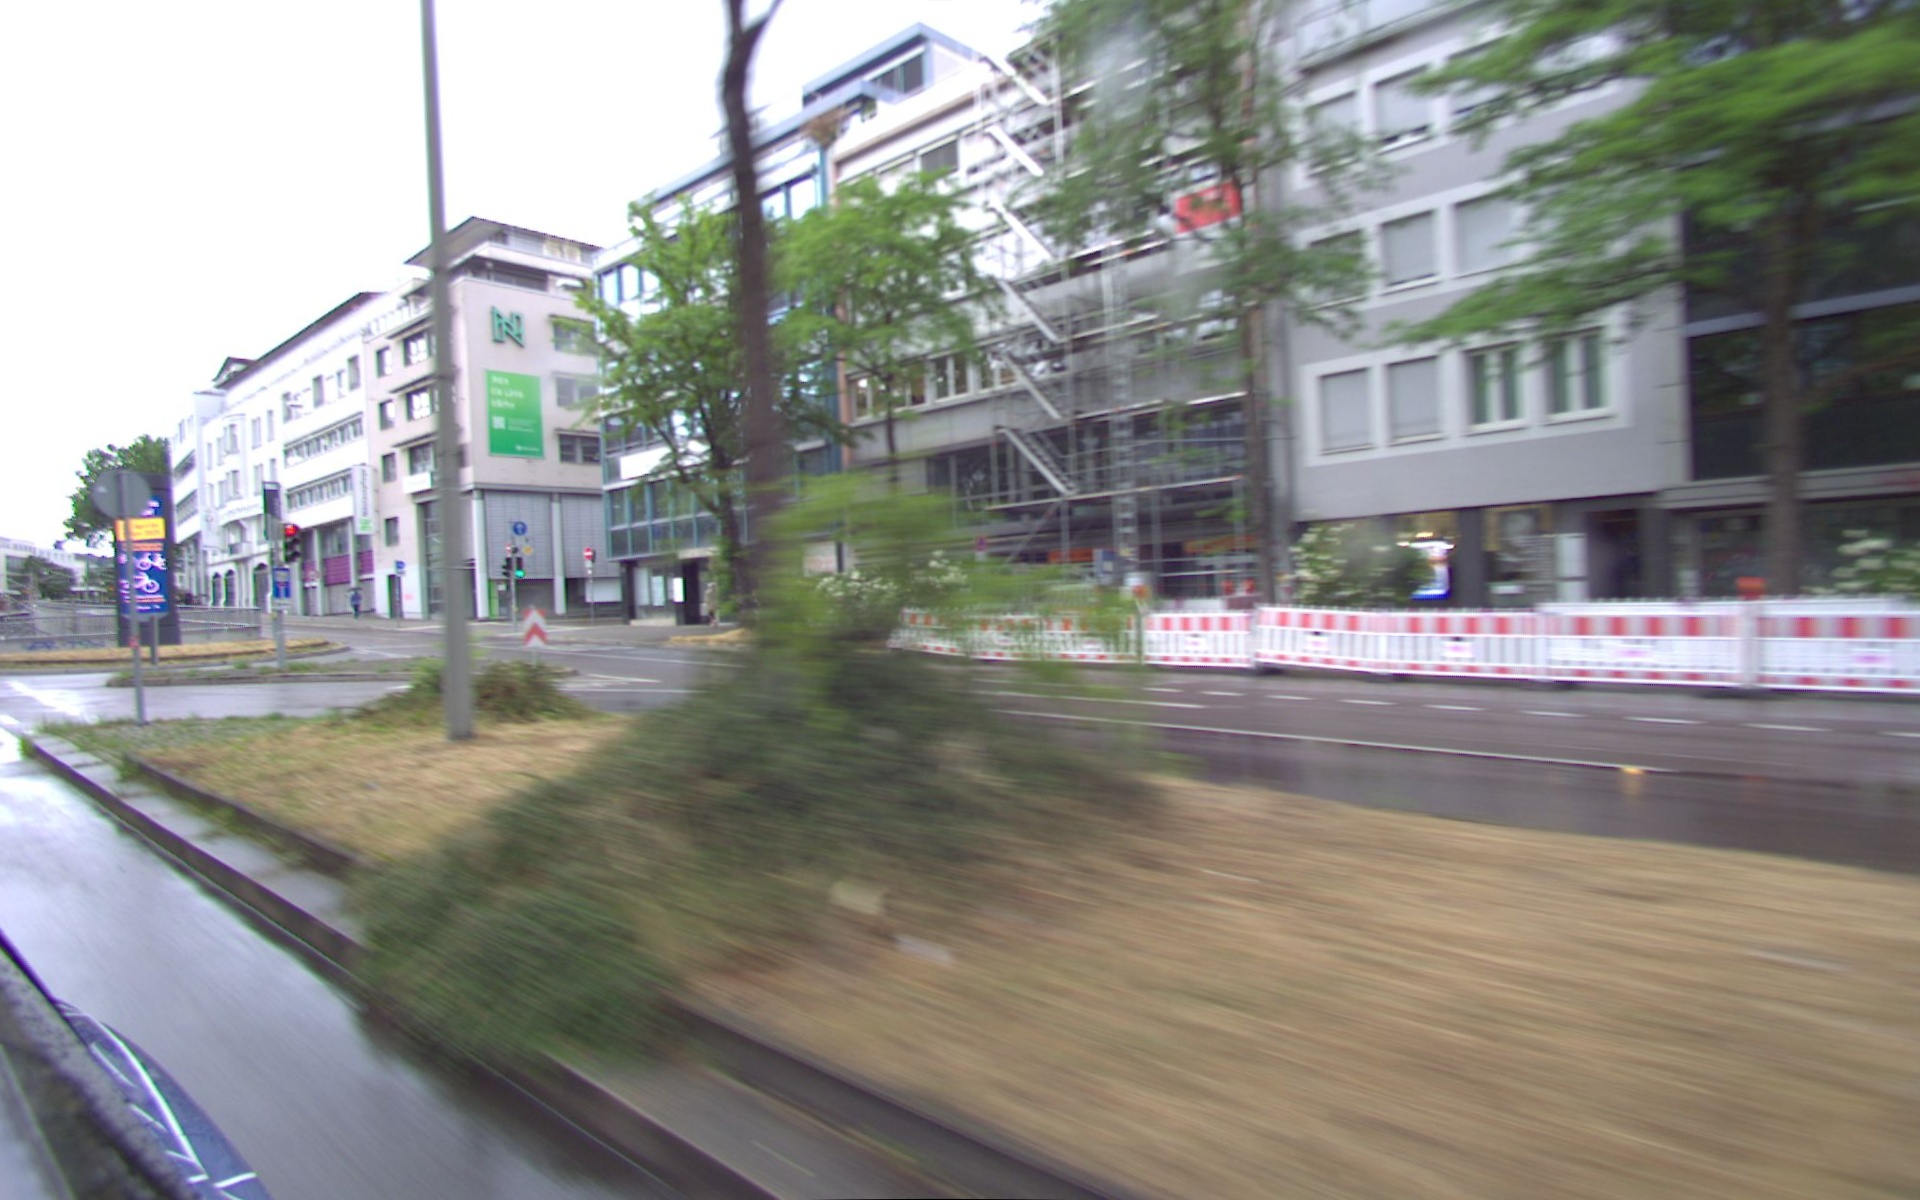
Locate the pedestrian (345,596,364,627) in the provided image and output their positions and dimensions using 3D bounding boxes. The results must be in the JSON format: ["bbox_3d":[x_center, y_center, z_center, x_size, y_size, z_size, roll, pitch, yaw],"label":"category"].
[{"bbox_3d":[-34.307,0.639,57.373,0.803,1.741,0.687,-1,0,39],"label":"pedestrian"}]

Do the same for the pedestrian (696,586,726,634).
[{"bbox_3d":[-9.049,0.364,36.762,0.757,1.727,0.731,-1,0,41],"label":"pedestrian"}]
